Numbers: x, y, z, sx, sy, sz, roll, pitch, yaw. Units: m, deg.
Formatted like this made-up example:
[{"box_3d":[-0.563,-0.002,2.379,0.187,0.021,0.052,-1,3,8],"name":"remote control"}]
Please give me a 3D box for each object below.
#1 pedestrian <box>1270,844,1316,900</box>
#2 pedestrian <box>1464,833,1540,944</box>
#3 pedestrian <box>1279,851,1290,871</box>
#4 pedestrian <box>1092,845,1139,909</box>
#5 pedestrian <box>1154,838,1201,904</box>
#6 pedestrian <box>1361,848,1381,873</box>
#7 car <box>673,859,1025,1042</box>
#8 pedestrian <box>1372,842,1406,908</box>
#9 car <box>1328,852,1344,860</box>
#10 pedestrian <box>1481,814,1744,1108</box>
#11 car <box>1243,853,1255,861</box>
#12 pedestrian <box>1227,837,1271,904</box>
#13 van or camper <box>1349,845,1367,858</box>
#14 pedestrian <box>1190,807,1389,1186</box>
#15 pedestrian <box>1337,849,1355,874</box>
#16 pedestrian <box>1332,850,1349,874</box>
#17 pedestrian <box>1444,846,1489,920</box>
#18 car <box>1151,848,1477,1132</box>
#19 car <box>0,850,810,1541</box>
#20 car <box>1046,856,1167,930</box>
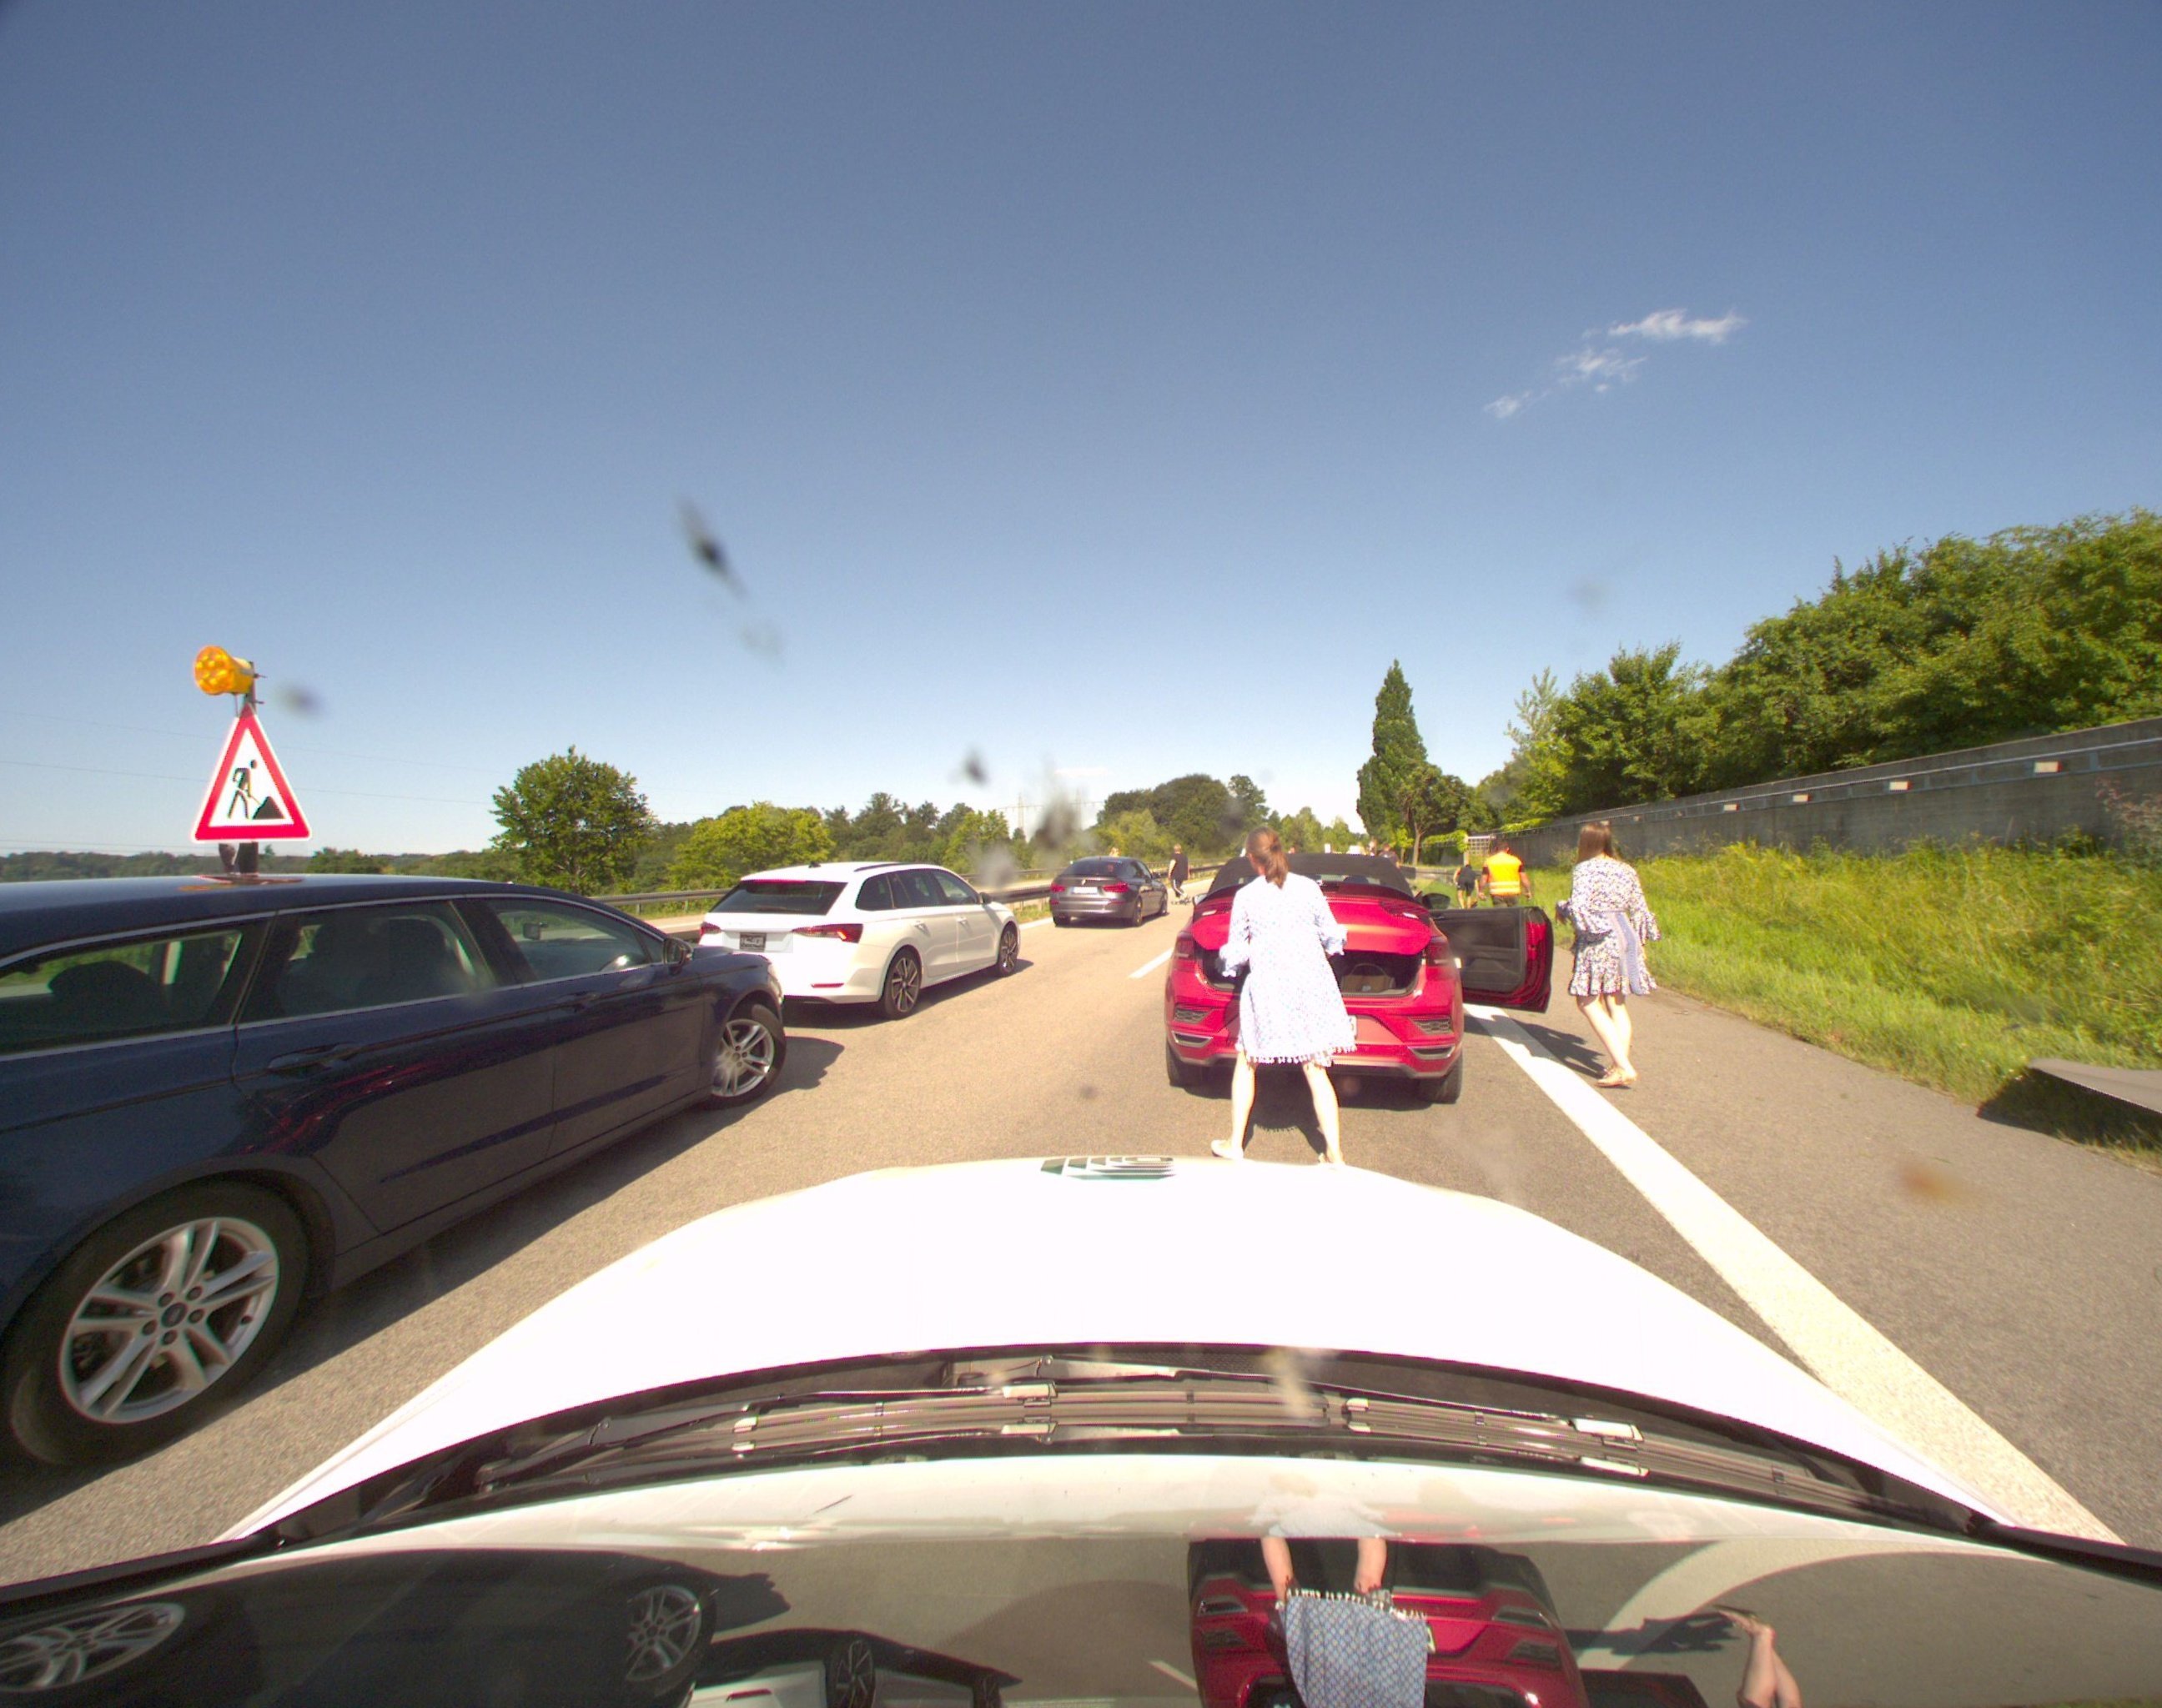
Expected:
[{"box_3d":[7.000,0.590,26.924,1.088,1.788,1.103,0,-1,-12],"name":"pedestrian"},{"box_3d":[6.630,0.527,12.880,0.949,1.654,1.285,-2,-1,24],"name":"pedestrian"},{"box_3d":[17.762,0.605,71.122,0.785,1.689,0.796,0,-1,21],"name":"pedestrian"},{"box_3d":[1.012,0.645,23.466,1.032,1.763,1.124,-2,-1,19],"name":"pedestrian"},{"box_3d":[2.874,0.500,24.202,1.056,1.883,1.099,-2,-1,23],"name":"pedestrian"},{"box_3d":[19.991,0.462,56.130,1.016,1.689,0.987,0,-1,-45],"name":"pedestrian"},{"box_3d":[-2.131,0.793,8.847,1.682,1.441,4.228,0,0,16],"name":"car"},{"box_3d":[8.329,0.561,22.053,0.805,1.759,0.832,0,-1,18],"name":"pedestrian"},{"box_3d":[48.322,0.348,154.303,1.716,1.487,4.237,0,0,32],"name":"car"},{"box_3d":[3.458,0.625,5.408,0.891,1.695,1.123,-2,-1,-13],"name":"pedestrian"},{"box_3d":[29.262,0.528,142.083,1.681,1.426,4.324,0,0,17],"name":"car"},{"box_3d":[5.047,0.481,24.490,1.100,1.912,1.259,-2,0,5],"name":"pedestrian"},{"box_3d":[51.458,-0.391,151.231,1.974,2.316,4.498,0,0,33],"name":"van or camper"},{"box_3d":[1.044,0.641,4.090,0.833,1.683,0.747,-2,-1,16],"name":"pedestrian"},{"box_3d":[18.475,0.536,56.723,1.104,1.689,0.978,0,-1,23],"name":"pedestrian"},{"box_3d":[18.500,0.543,58.073,1.046,1.689,1.023,0,-1,22],"name":"pedestrian"},{"box_3d":[9.119,0.671,19.297,0.887,1.725,0.758,0,-1,19],"name":"pedestrian"},{"box_3d":[1.820,0.709,6.525,1.719,1.487,4.228,0,0,16],"name":"car"},{"box_3d":[-3.041,0.765,3.445,1.778,1.493,4.502,-2,0,7],"name":"car"},{"box_3d":[0.719,0.770,18.264,1.682,1.426,4.352,0,0,16],"name":"car"}]
